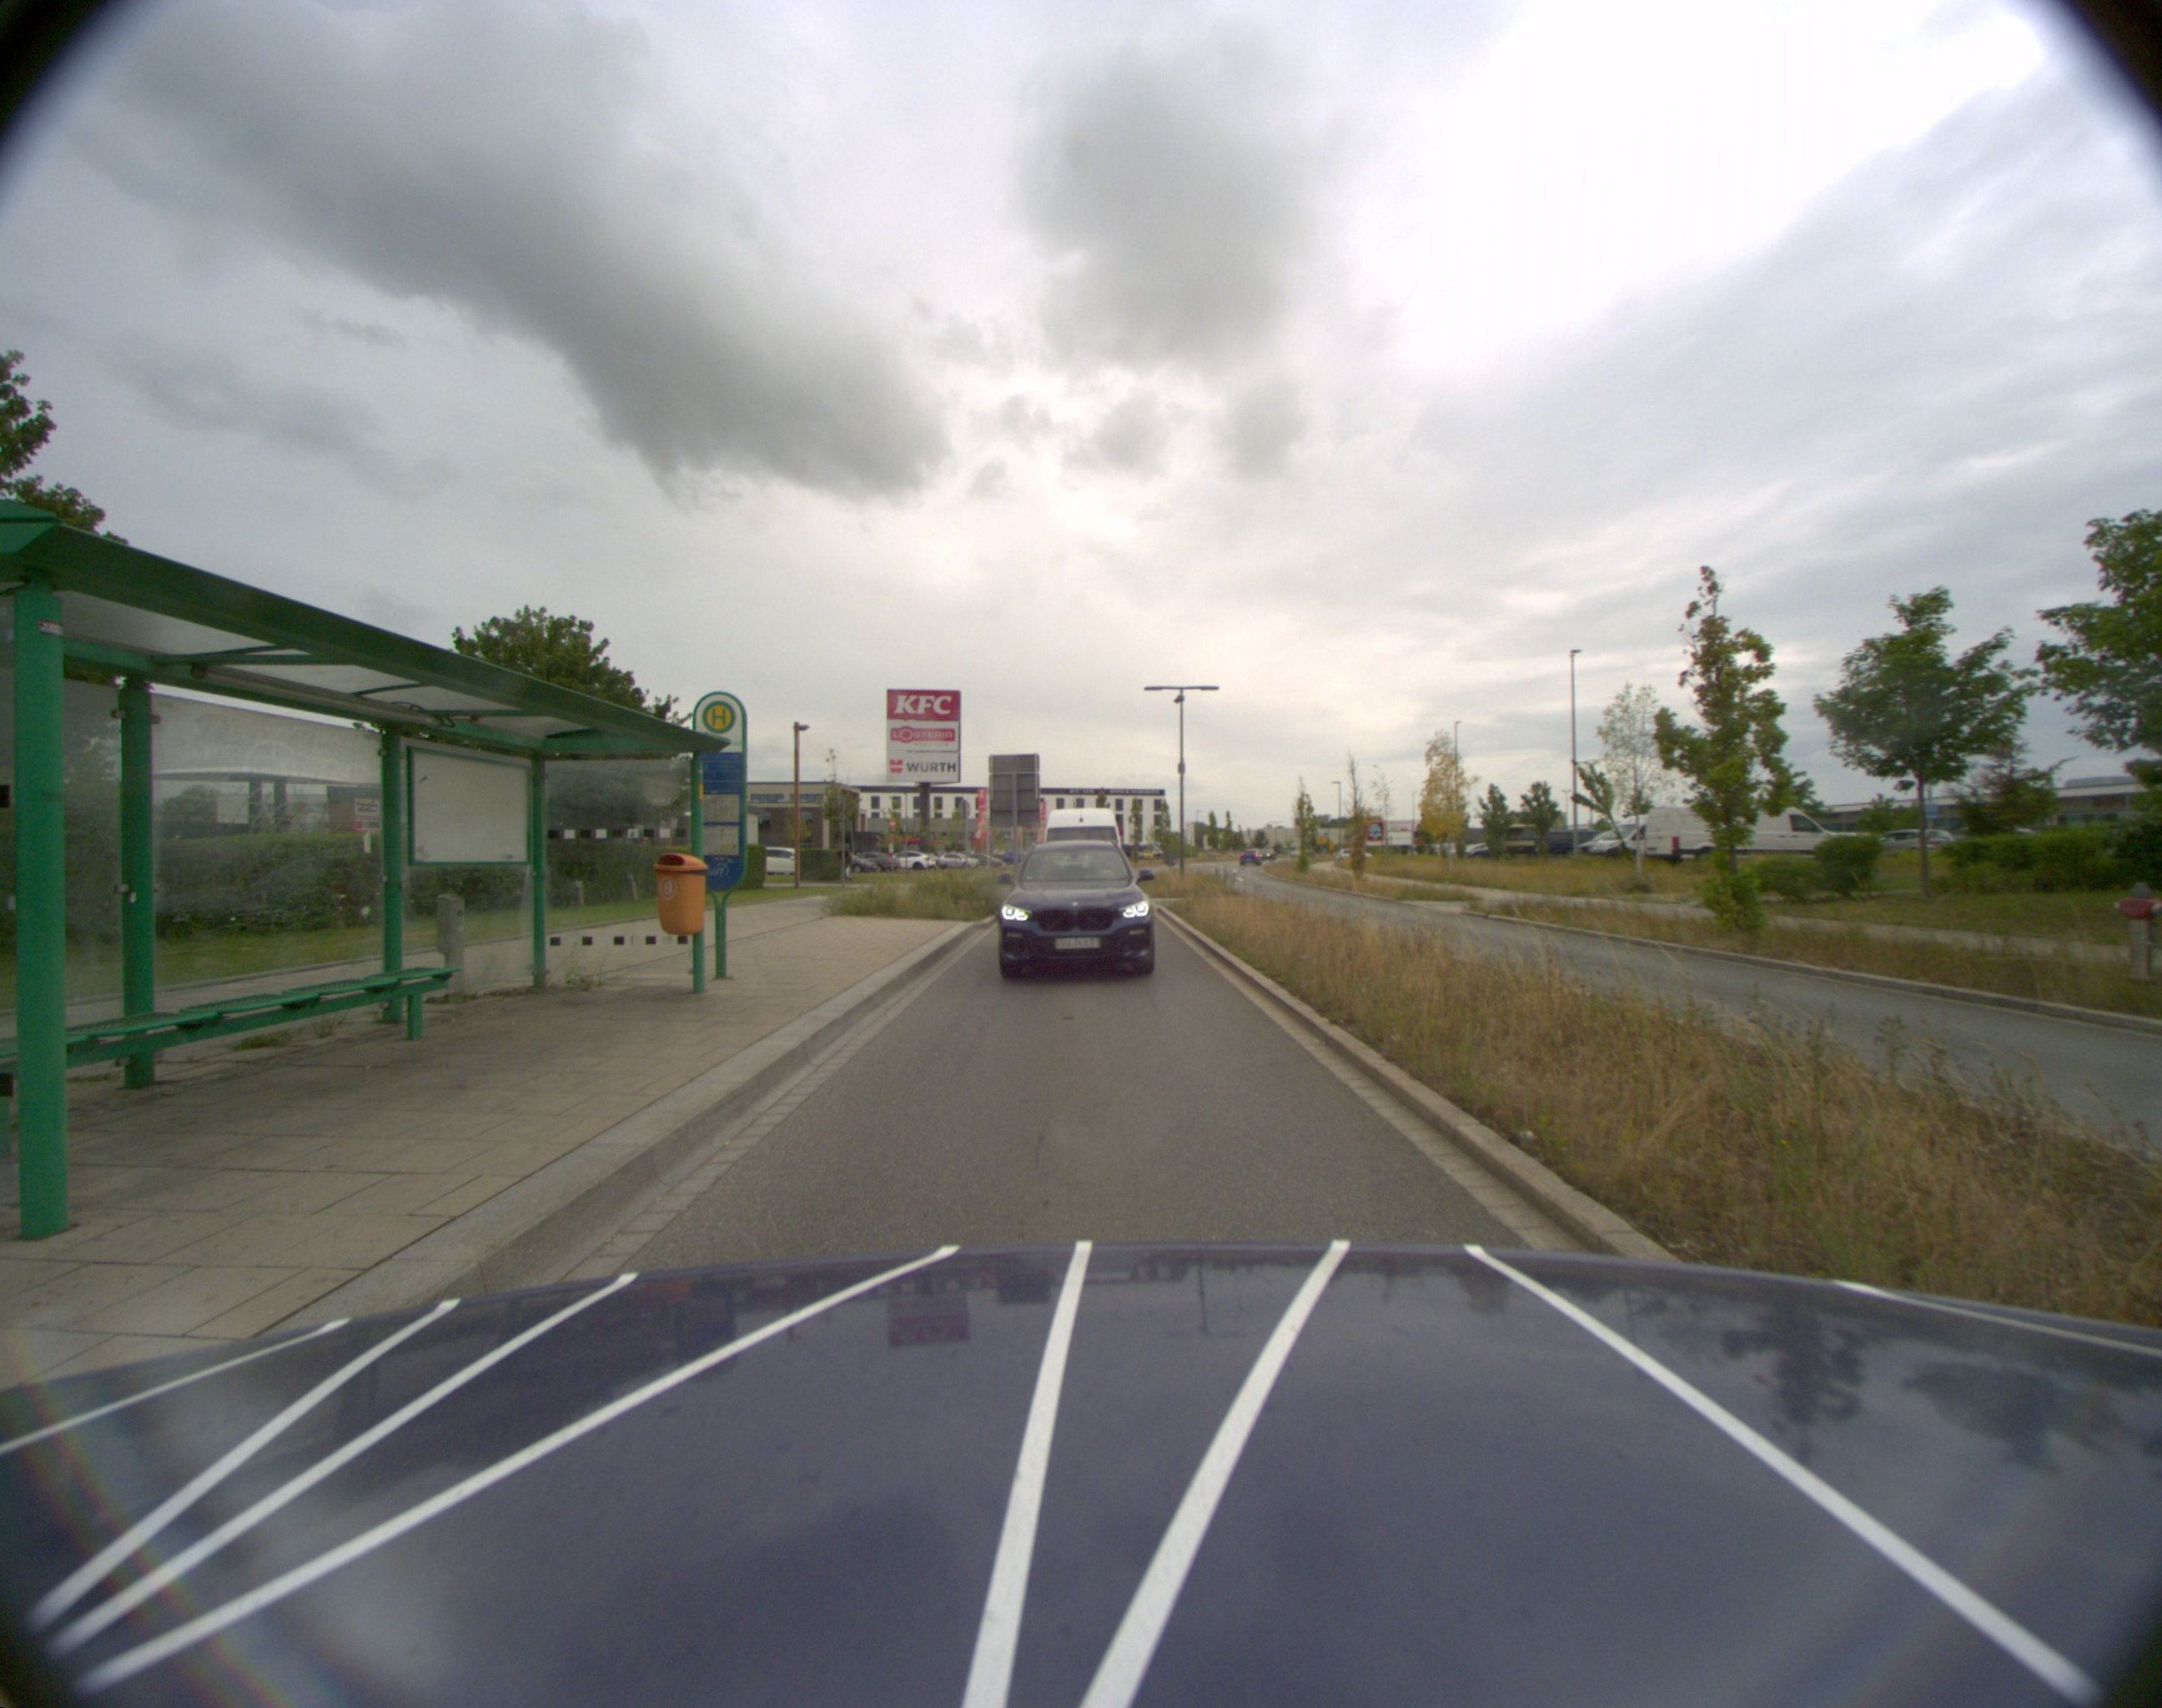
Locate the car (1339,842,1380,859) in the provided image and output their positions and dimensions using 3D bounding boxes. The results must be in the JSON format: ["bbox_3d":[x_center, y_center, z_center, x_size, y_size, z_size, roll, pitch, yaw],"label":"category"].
[{"bbox_3d":[30.217,-0.400,82.461,3.990,1.660,2.004,-2,-1,25],"label":"car"}]

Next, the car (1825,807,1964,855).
[{"bbox_3d":[43.303,-1.208,40.659,2.063,2.359,5.056,-2,1,1],"label":"car"}]

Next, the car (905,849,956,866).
[{"bbox_3d":[-13.242,0.326,66.876,3.994,1.477,1.848,0,0,8],"label":"car"}]

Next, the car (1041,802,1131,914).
[{"bbox_3d":[0.104,0.073,20.228,2.026,2.513,6.104,0,0,0],"label":"car"}]

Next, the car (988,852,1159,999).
[{"bbox_3d":[-0.081,0.777,10.337,1.867,1.598,3.999,0,0,0],"label":"car"}]

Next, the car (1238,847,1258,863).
[{"bbox_3d":[15.998,0.092,72.906,1.732,1.504,4.003,0,0,10],"label":"car"}]

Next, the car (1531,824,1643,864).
[{"bbox_3d":[29.344,-0.565,44.203,5.050,2.211,2.066,0,1,8],"label":"car"}]

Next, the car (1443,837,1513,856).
[{"bbox_3d":[34.668,-0.635,66.497,5.049,1.647,2.066,0,0,11],"label":"car"}]

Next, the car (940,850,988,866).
[{"bbox_3d":[-10.987,0.348,71.343,3.993,1.477,1.849,0,0,13],"label":"car"}]

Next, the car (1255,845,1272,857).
[{"bbox_3d":[24.635,-0.427,102.319,1.996,1.565,4.004,-2,1,17],"label":"car"}]

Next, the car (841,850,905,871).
[{"bbox_3d":[-14.958,0.433,54.684,3.994,1.477,1.848,0,0,9],"label":"car"}]

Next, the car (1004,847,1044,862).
[{"bbox_3d":[-6.413,0.020,85.175,3.992,1.477,1.849,-2,1,18],"label":"car"}]

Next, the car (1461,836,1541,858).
[{"bbox_3d":[32.636,-0.532,59.150,5.049,1.647,2.066,0,0,11],"label":"car"}]

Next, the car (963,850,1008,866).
[{"bbox_3d":[-9.532,0.387,75.749,3.993,1.477,1.849,0,0,13],"label":"car"}]

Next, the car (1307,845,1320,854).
[{"bbox_3d":[39.015,-0.764,127.314,1.730,1.484,4.006,0,0,23],"label":"car"}]

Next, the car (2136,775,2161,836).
[{"bbox_3d":[43.179,-1.895,27.798,2.064,2.359,5.055,-2,1,-3],"label":"car"}]

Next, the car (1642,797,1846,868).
[{"bbox_3d":[27.306,-0.875,31.490,6.413,2.609,2.065,-2,1,4],"label":"car"}]

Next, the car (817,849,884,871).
[{"bbox_3d":[-15.780,0.432,52.068,3.994,1.477,1.848,0,0,9],"label":"car"}]

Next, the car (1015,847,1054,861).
[{"bbox_3d":[-5.383,0.013,87.671,3.992,1.477,1.849,-2,1,18],"label":"car"}]

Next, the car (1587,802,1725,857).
[{"bbox_3d":[27.531,-1.157,36.506,5.053,2.359,2.064,-2,1,1],"label":"car"}]

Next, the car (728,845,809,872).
[{"bbox_3d":[-18.348,0.237,44.710,3.996,1.519,1.847,0,0,1],"label":"car"}]

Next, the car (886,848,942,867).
[{"bbox_3d":[-13.548,0.283,61.625,3.994,1.513,1.848,0,0,9],"label":"car"}]
